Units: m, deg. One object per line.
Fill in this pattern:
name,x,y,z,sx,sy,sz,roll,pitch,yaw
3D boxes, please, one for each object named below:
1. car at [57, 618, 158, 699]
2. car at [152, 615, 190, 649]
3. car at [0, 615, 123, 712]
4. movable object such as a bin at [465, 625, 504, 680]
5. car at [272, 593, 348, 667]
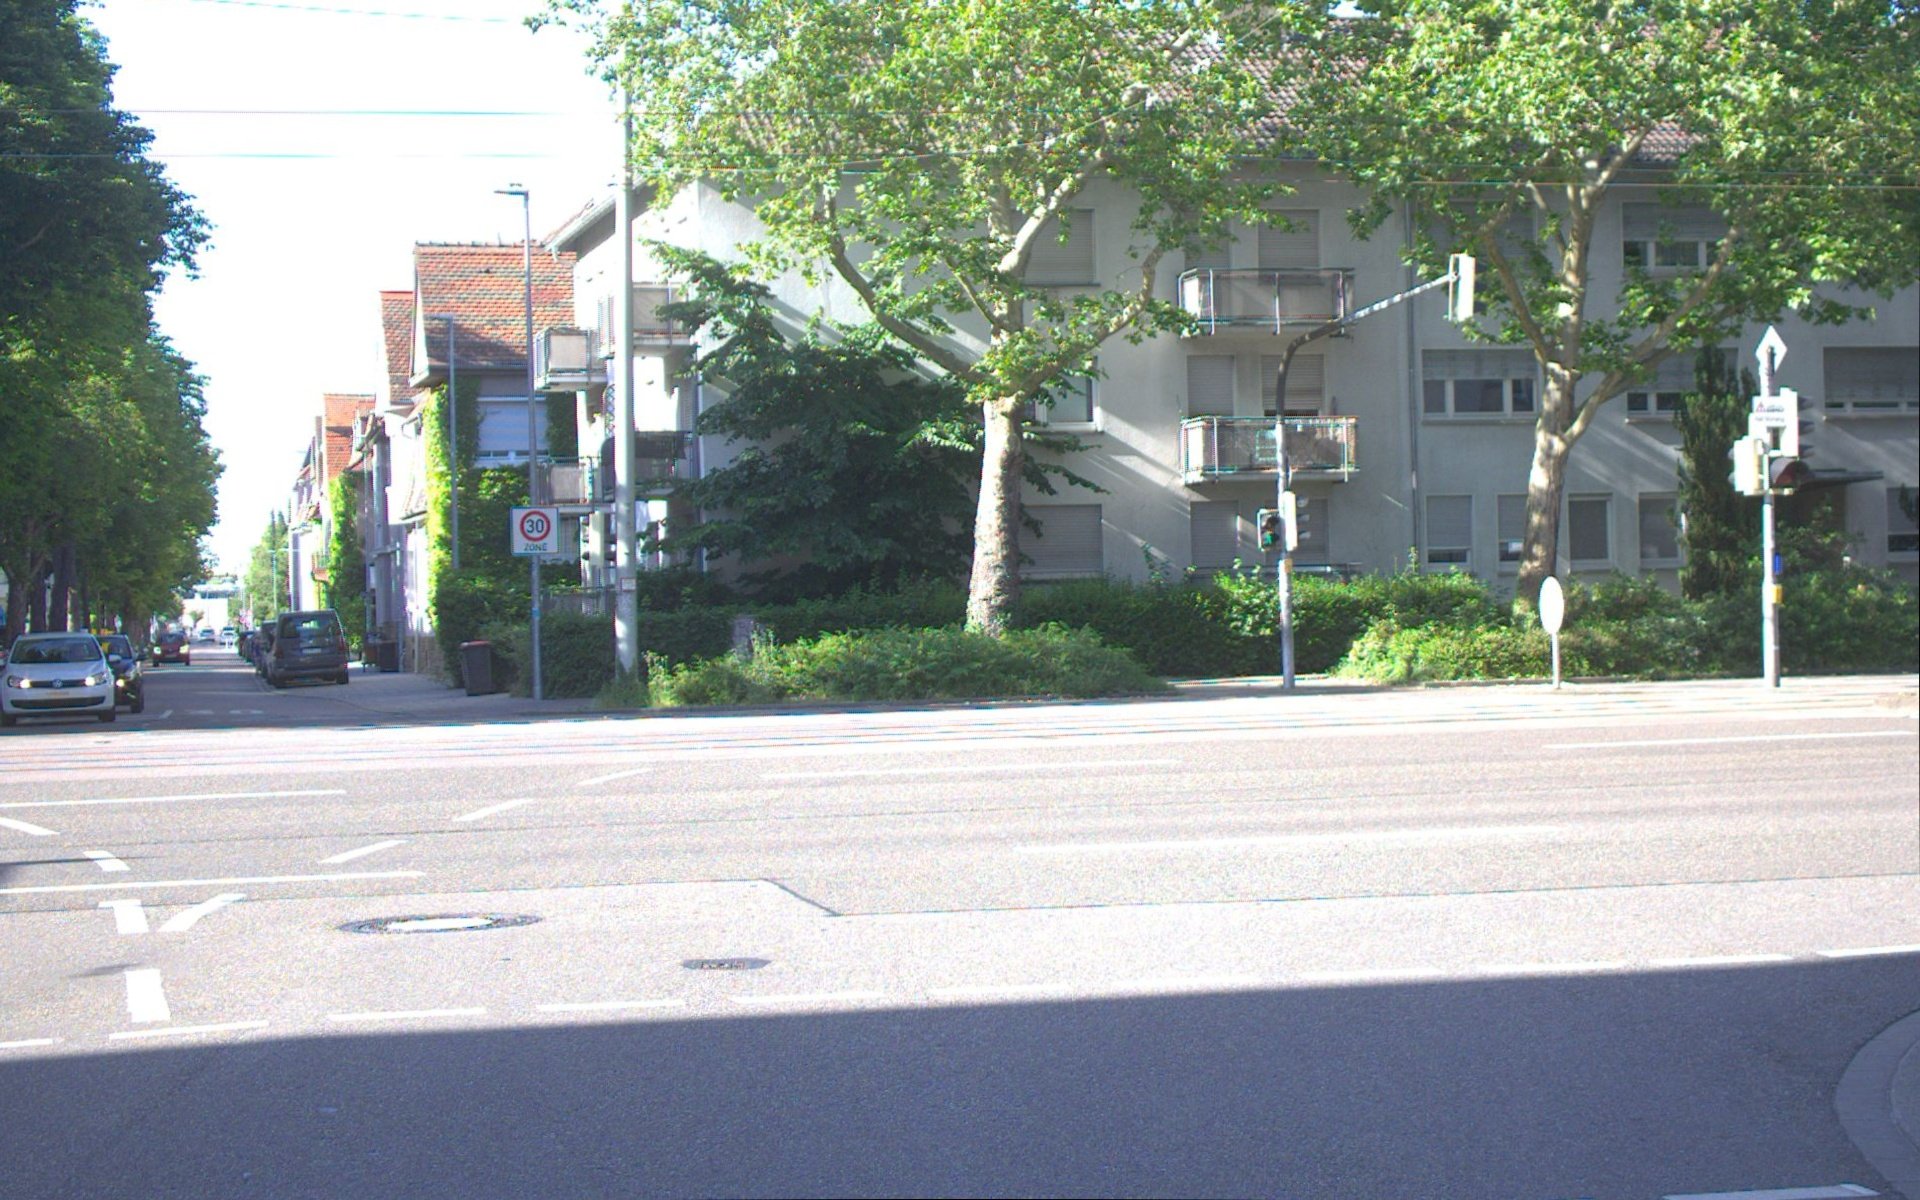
car,-16.117,1.089,65.127,1.660,1.459,3.809,-1,0,-11
car,-37.090,1.498,161.639,1.640,1.503,3.703,-3,0,-13
car,-14.436,1.024,55.337,1.806,1.453,4.001,-1,-1,-13
movable object such as a bin,-9.486,1.044,68.602,0.597,1.041,0.707,-5,1,-15
car,-17.228,0.787,91.004,1.864,1.909,4.783,0,0,-12
